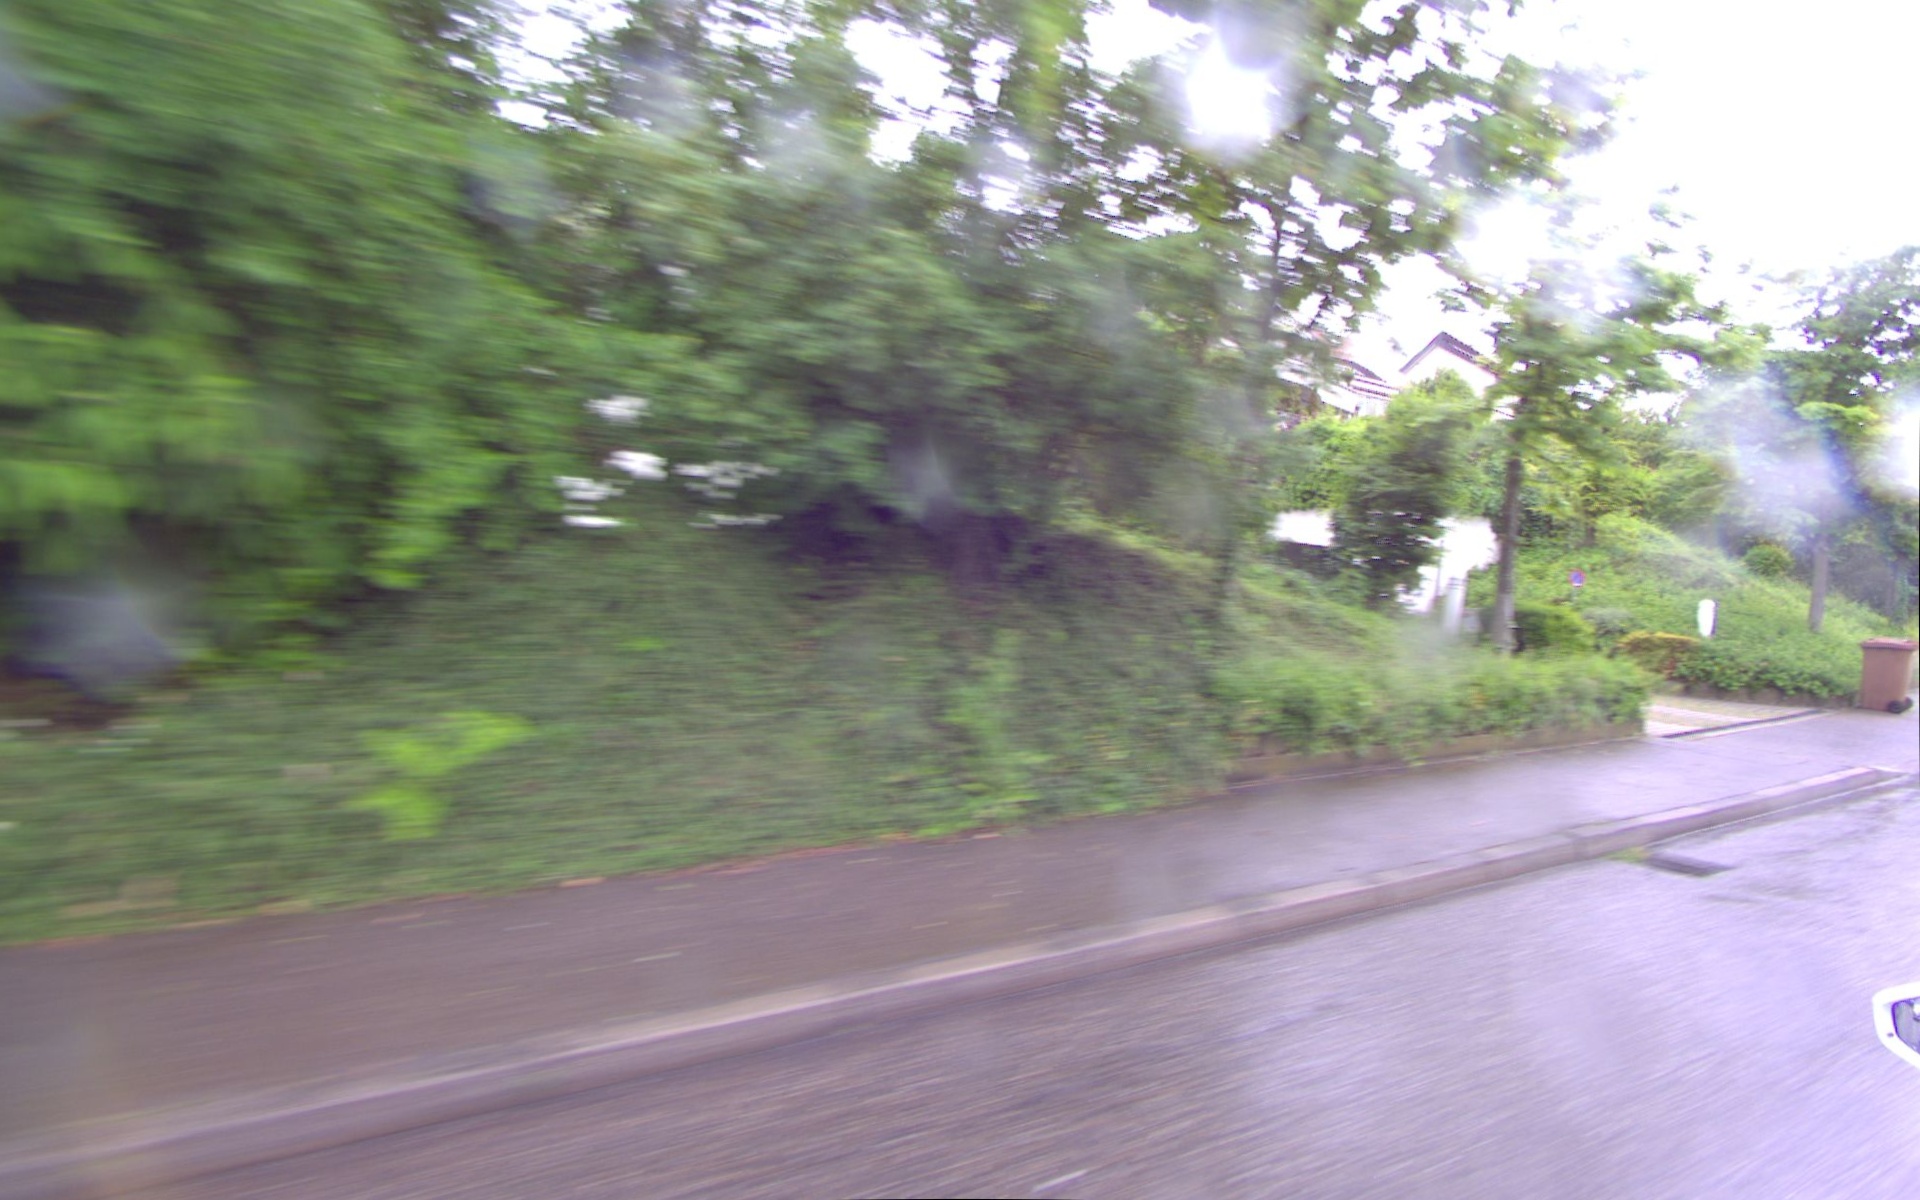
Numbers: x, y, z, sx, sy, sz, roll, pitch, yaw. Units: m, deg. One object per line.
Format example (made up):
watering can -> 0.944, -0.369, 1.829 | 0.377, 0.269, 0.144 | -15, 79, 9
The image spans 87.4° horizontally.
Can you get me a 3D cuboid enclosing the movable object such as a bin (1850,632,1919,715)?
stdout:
movable object such as a bin -> 14.127, 1.098, 15.245 | 0.794, 1.105, 0.690 | -3, 5, -32
